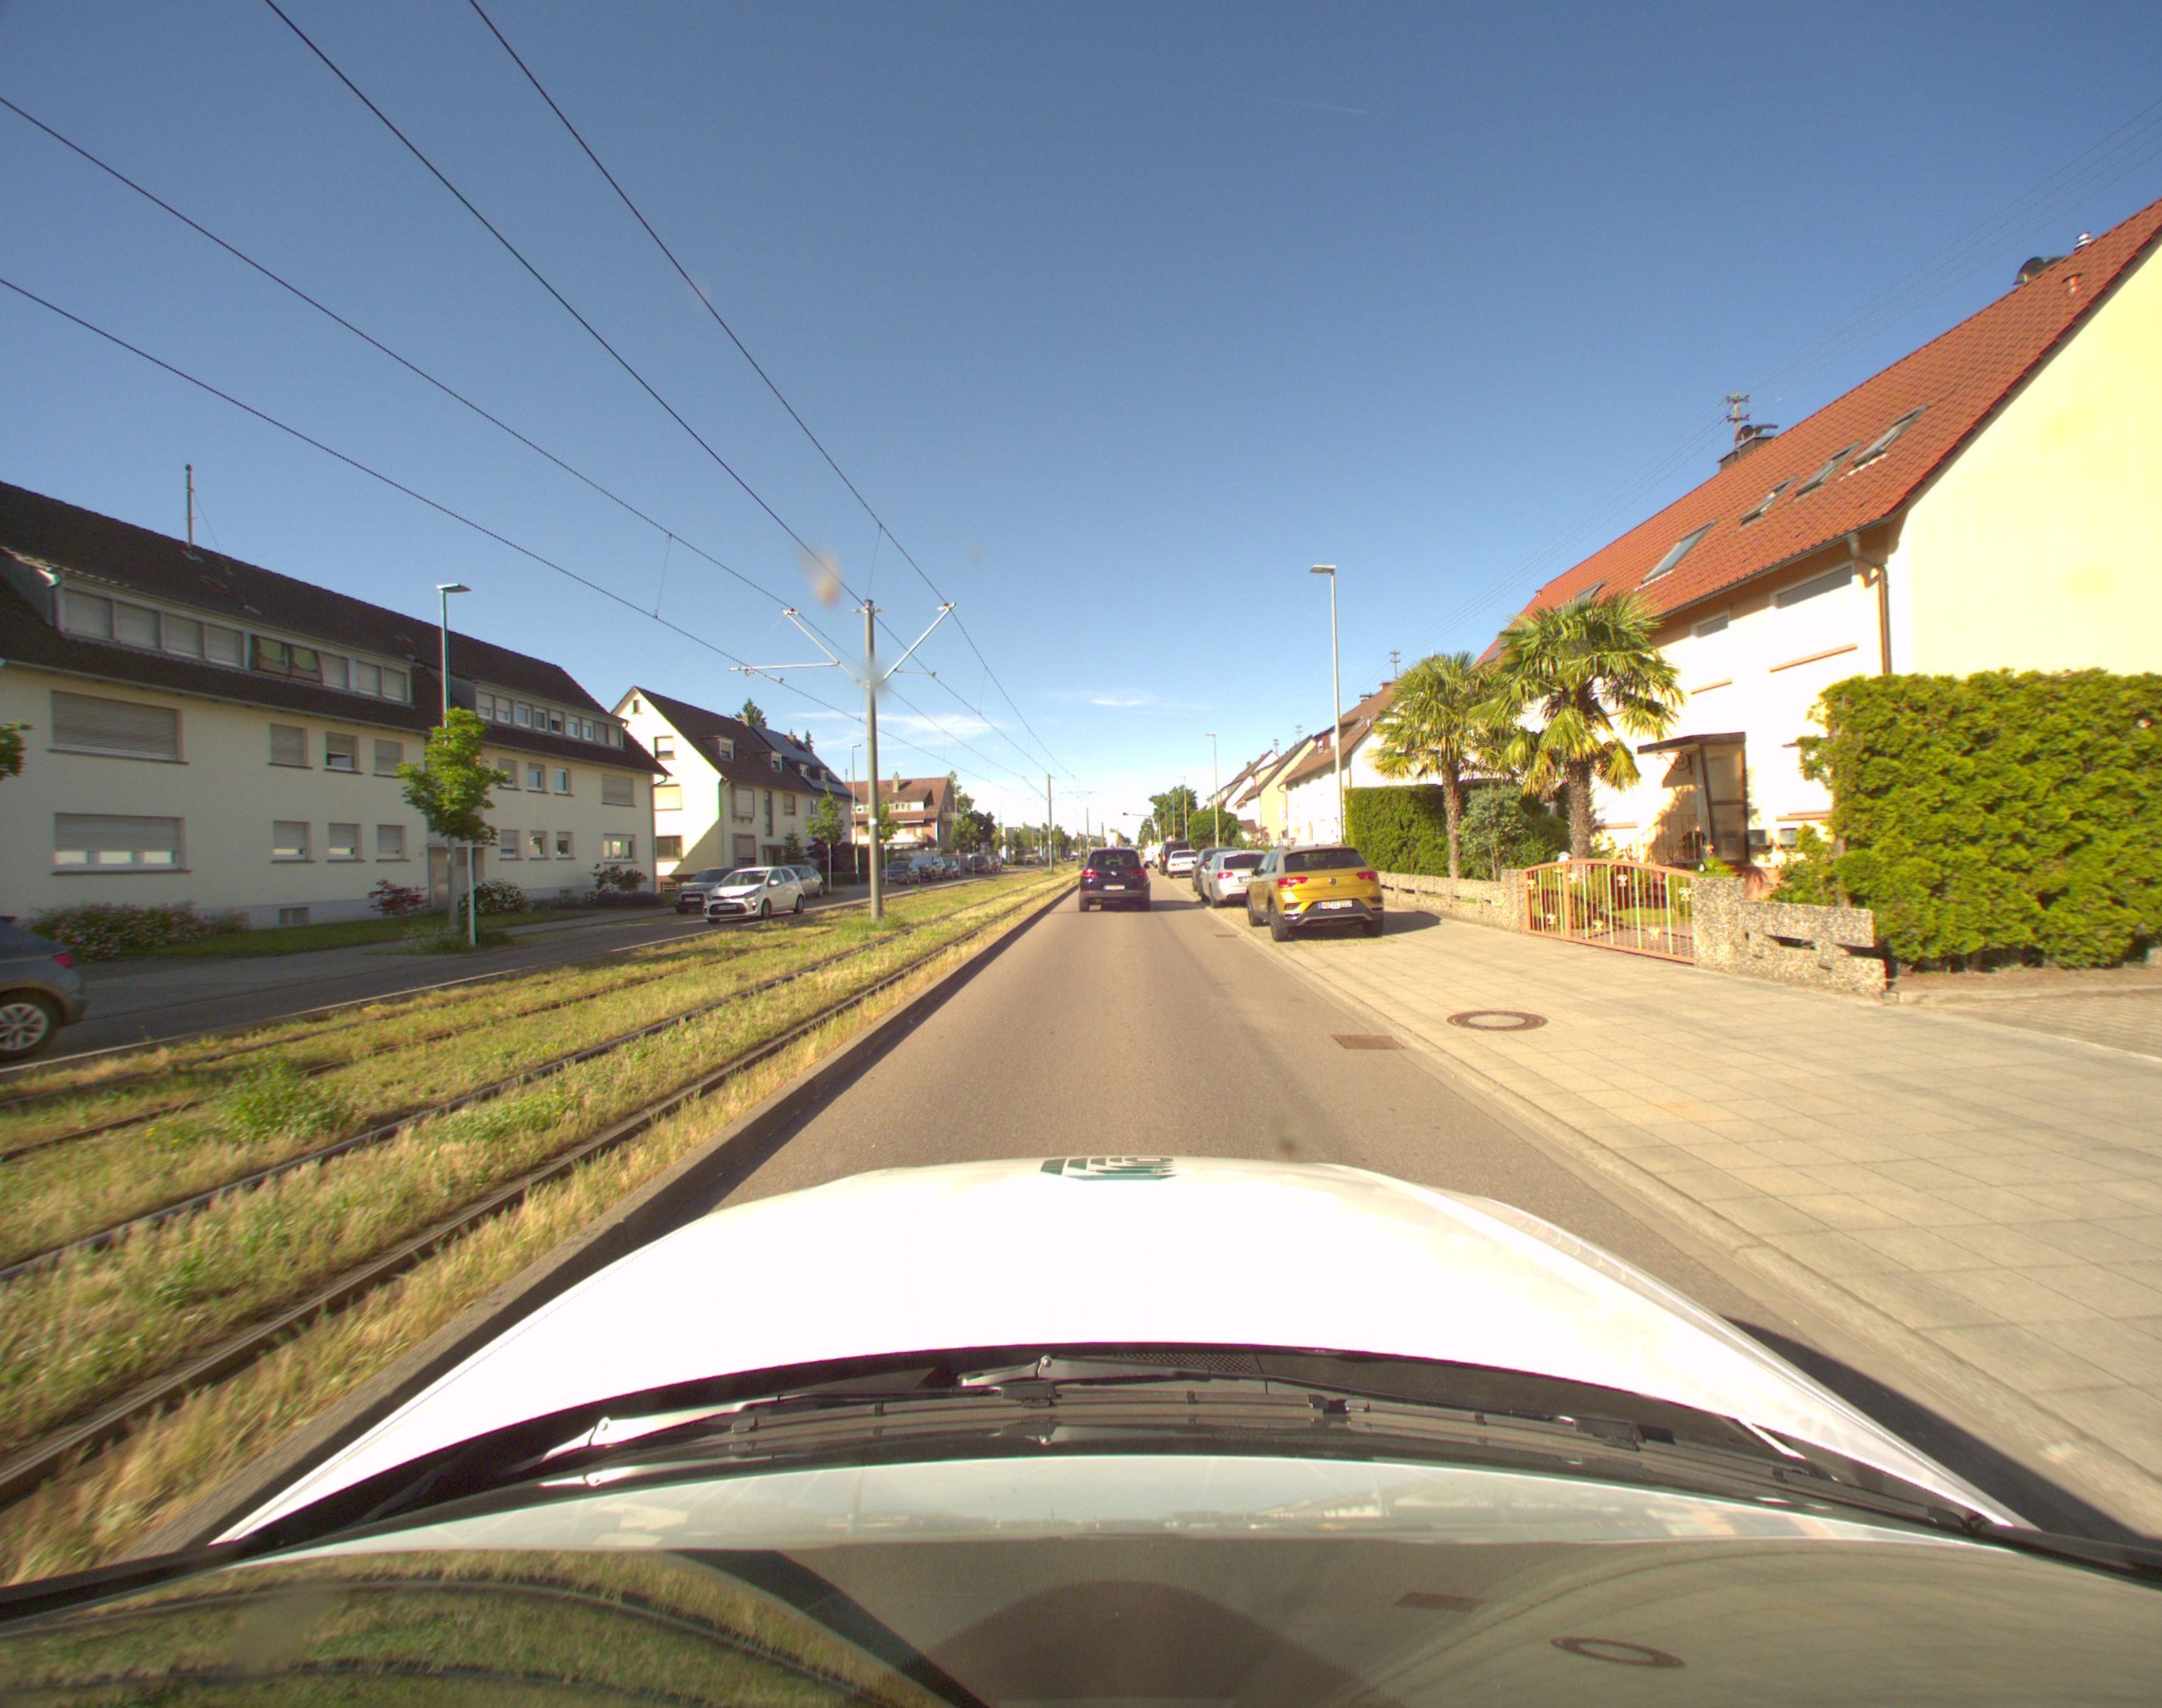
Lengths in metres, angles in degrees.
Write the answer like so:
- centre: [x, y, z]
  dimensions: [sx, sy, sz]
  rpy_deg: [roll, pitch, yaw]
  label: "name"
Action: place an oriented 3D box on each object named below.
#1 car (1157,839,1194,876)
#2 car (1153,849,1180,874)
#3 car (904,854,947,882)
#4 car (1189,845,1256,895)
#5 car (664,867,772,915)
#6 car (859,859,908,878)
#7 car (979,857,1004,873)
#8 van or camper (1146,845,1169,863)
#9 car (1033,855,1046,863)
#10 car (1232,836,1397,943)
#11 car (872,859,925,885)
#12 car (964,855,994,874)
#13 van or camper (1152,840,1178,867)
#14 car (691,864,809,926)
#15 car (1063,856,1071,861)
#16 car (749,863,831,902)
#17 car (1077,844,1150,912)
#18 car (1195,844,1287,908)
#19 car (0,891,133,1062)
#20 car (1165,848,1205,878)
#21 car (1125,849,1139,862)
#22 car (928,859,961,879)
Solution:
- centre: [5.954, 0.193, 51.761]
  dimensions: [1.951, 2.144, 5.340]
  rpy_deg: [-3, 0, 3]
  label: "car"
- centre: [6.240, 0.516, 59.797]
  dimensions: [1.718, 1.645, 4.322]
  rpy_deg: [-3, 0, 3]
  label: "car"
- centre: [-10.680, 0.920, 56.342]
  dimensions: [1.737, 1.823, 4.846]
  rpy_deg: [0, 0, 4]
  label: "car"
- centre: [4.748, 0.490, 27.977]
  dimensions: [1.769, 1.498, 4.734]
  rpy_deg: [-2, 0, 4]
  label: "car"
- centre: [-12.418, 1.210, 28.187]
  dimensions: [1.682, 1.472, 4.316]
  rpy_deg: [-1, 0, 2]
  label: "car"
- centre: [-16.257, 1.173, 67.191]
  dimensions: [3.622, 1.461, 1.691]
  rpy_deg: [-1, 0, -2]
  label: "car"
- centre: [-8.936, 1.072, 81.332]
  dimensions: [1.687, 1.405, 4.083]
  rpy_deg: [-2, 0, 4]
  label: "car"
- centre: [8.898, -0.036, 94.845]
  dimensions: [2.014, 1.956, 5.312]
  rpy_deg: [-2, 0, 12]
  label: "van or camper"
- centre: [-8.217, 0.961, 161.443]
  dimensions: [1.800, 1.461, 4.327]
  rpy_deg: [-1, 0, 8]
  label: "car"
- centre: [4.082, 0.558, 15.103]
  dimensions: [1.798, 1.559, 4.930]
  rpy_deg: [-3, 0, 3]
  label: "car"
- centre: [-11.215, 1.077, 50.314]
  dimensions: [1.952, 1.540, 4.561]
  rpy_deg: [-1, 0, 3]
  label: "car"
- centre: [-9.401, 0.953, 75.375]
  dimensions: [1.811, 1.684, 4.851]
  rpy_deg: [0, 0, 4]
  label: "car"
- centre: [7.576, -0.031, 74.200]
  dimensions: [1.985, 2.271, 6.311]
  rpy_deg: [-4, 0, 4]
  label: "van or camper"
- centre: [-9.311, 1.094, 23.223]
  dimensions: [1.682, 1.475, 3.681]
  rpy_deg: [-4, 0, 2]
  label: "car"
- centre: [-3.740, 1.299, 224.588]
  dimensions: [1.680, 1.389, 4.394]
  rpy_deg: [-4, 0, 5]
  label: "car"
- centre: [-12.103, 1.147, 34.181]
  dimensions: [1.682, 1.475, 4.445]
  rpy_deg: [-1, 0, 2]
  label: "car"
- centre: [0.873, 0.595, 22.100]
  dimensions: [1.769, 1.670, 4.002]
  rpy_deg: [-1, 0, 2]
  label: "car"
- centre: [4.264, 0.518, 22.364]
  dimensions: [1.741, 1.447, 4.702]
  rpy_deg: [-3, 1, 3]
  label: "car"
- centre: [-10.468, 1.152, 6.155]
  dimensions: [1.682, 1.475, 4.085]
  rpy_deg: [-4, 0, 2]
  label: "car"
- centre: [5.667, 0.460, 44.939]
  dimensions: [1.844, 1.443, 5.621]
  rpy_deg: [-4, 0, 5]
  label: "car"
- centre: [7.055, 0.200, 113.748]
  dimensions: [1.623, 1.828, 4.129]
  rpy_deg: [-2, 0, -1]
  label: "car"
- centre: [-10.418, 1.116, 62.405]
  dimensions: [1.670, 1.491, 4.051]
  rpy_deg: [0, 0, 1]
  label: "car"
